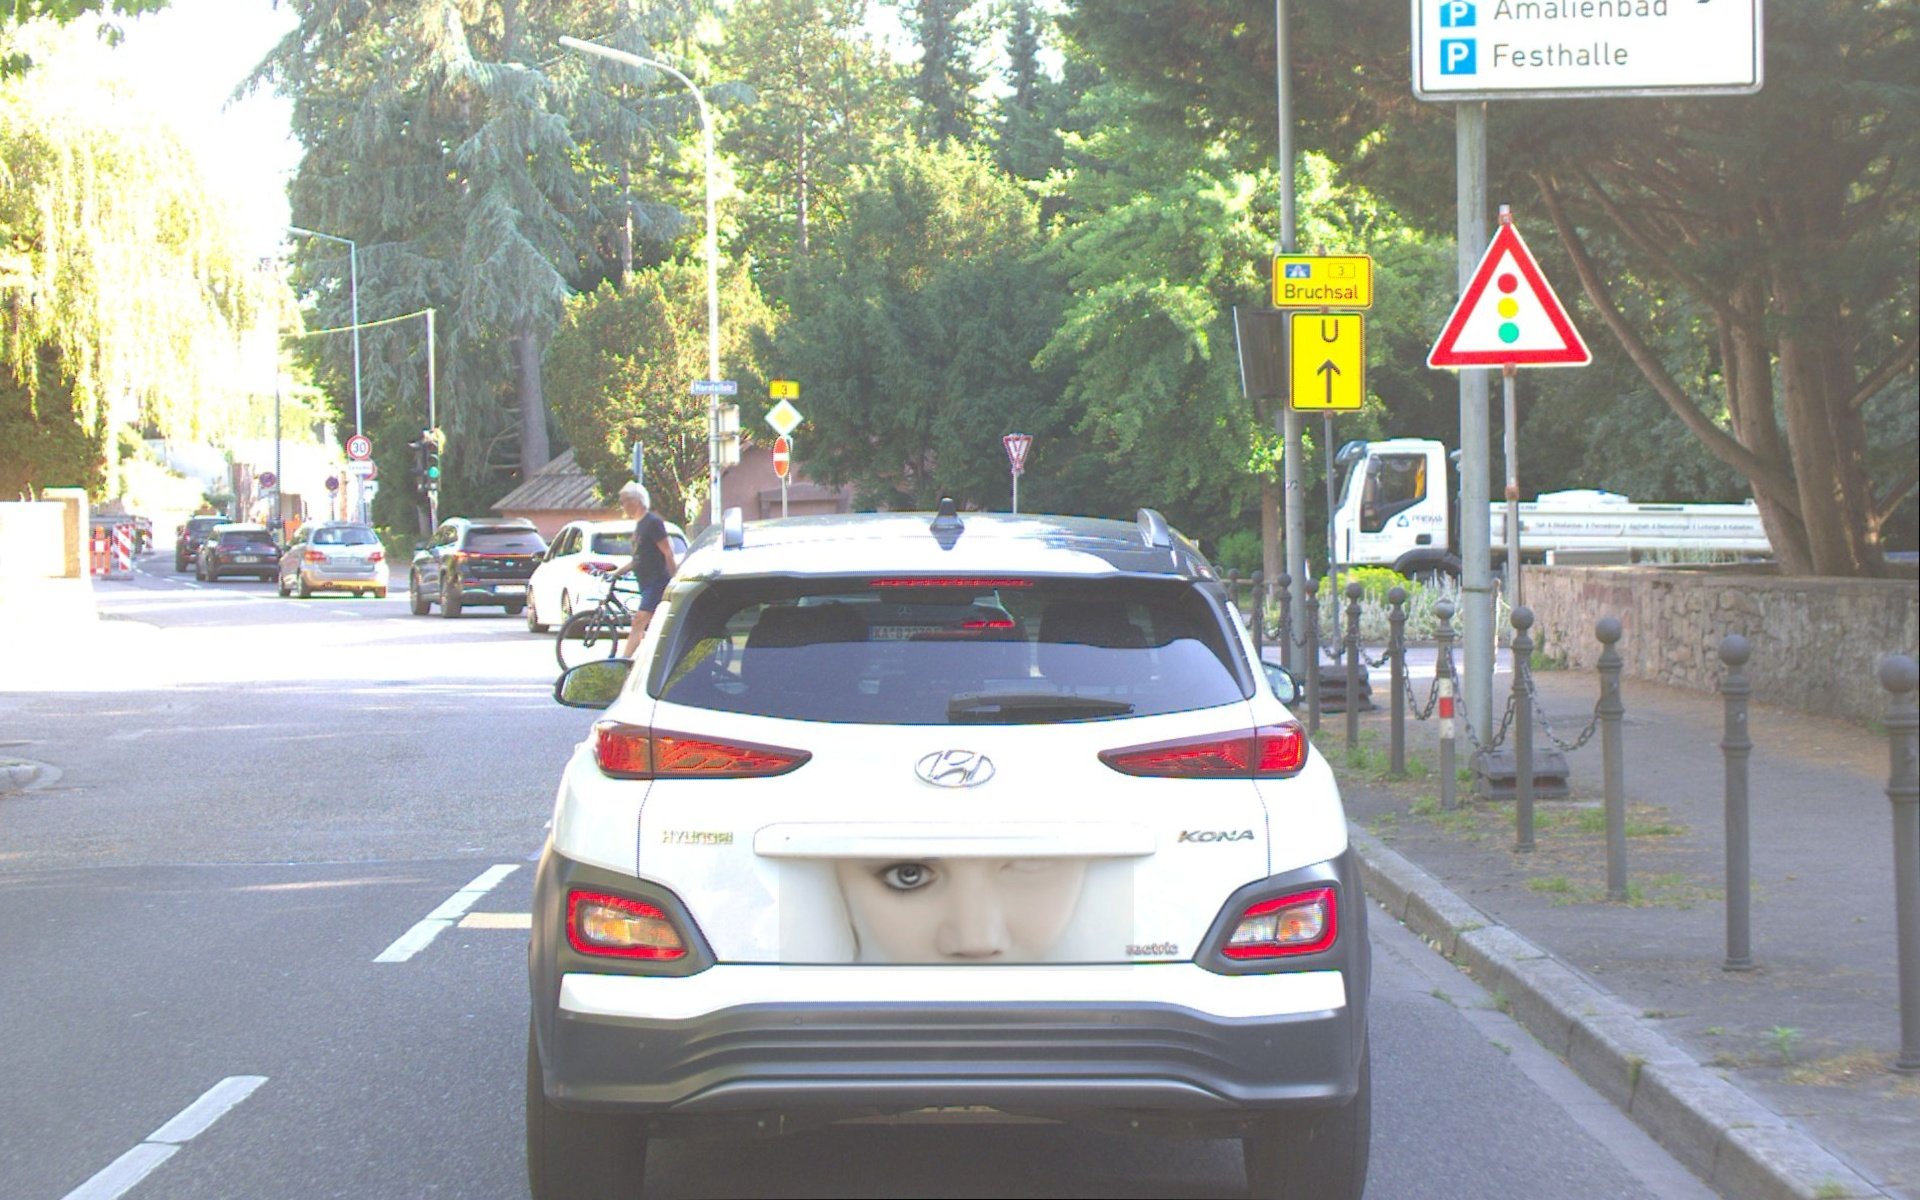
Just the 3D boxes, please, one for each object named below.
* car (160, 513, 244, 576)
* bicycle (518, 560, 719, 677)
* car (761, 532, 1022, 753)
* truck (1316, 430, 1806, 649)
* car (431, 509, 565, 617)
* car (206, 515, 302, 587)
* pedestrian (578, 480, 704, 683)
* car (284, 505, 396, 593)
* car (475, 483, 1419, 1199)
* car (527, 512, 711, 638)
[{"bbox_3d":[-21.205,-1.566,96.136,1.831,1.656,4.001,1,1,-19],"label":"car"},{"bbox_3d":[-3.182,0.169,32.087,1.812,1.039,0.561,0,3,-37],"label":"bicycle"},{"bbox_3d":[-0.483,0.241,25.129,1.708,1.429,4.365,1,1,-1],"label":"car"},{"bbox_3d":[8.441,-0.876,48.887,6.588,2.885,2.433,1,1,5],"label":"truck"},{"bbox_3d":[-7.566,-0.633,56.026,1.831,1.656,4.001,1,1,-12],"label":"car"},{"bbox_3d":[-17.092,-1.206,83.117,1.831,1.656,4.001,1,1,-18],"label":"car"},{"bbox_3d":[-2.928,-0.174,31.586,0.940,1.820,0.554,0,3,-39],"label":"pedestrian"},{"bbox_3d":[-12.825,-1.070,70.972,1.831,1.735,4.001,1,1,-16],"label":"car"},{"bbox_3d":[-0.062,0.535,8.756,1.820,1.568,4.000,1,1,-1],"label":"car"},{"bbox_3d":[-4.530,-0.358,45.194,1.805,1.532,4.001,1,1,-14],"label":"car"}]
